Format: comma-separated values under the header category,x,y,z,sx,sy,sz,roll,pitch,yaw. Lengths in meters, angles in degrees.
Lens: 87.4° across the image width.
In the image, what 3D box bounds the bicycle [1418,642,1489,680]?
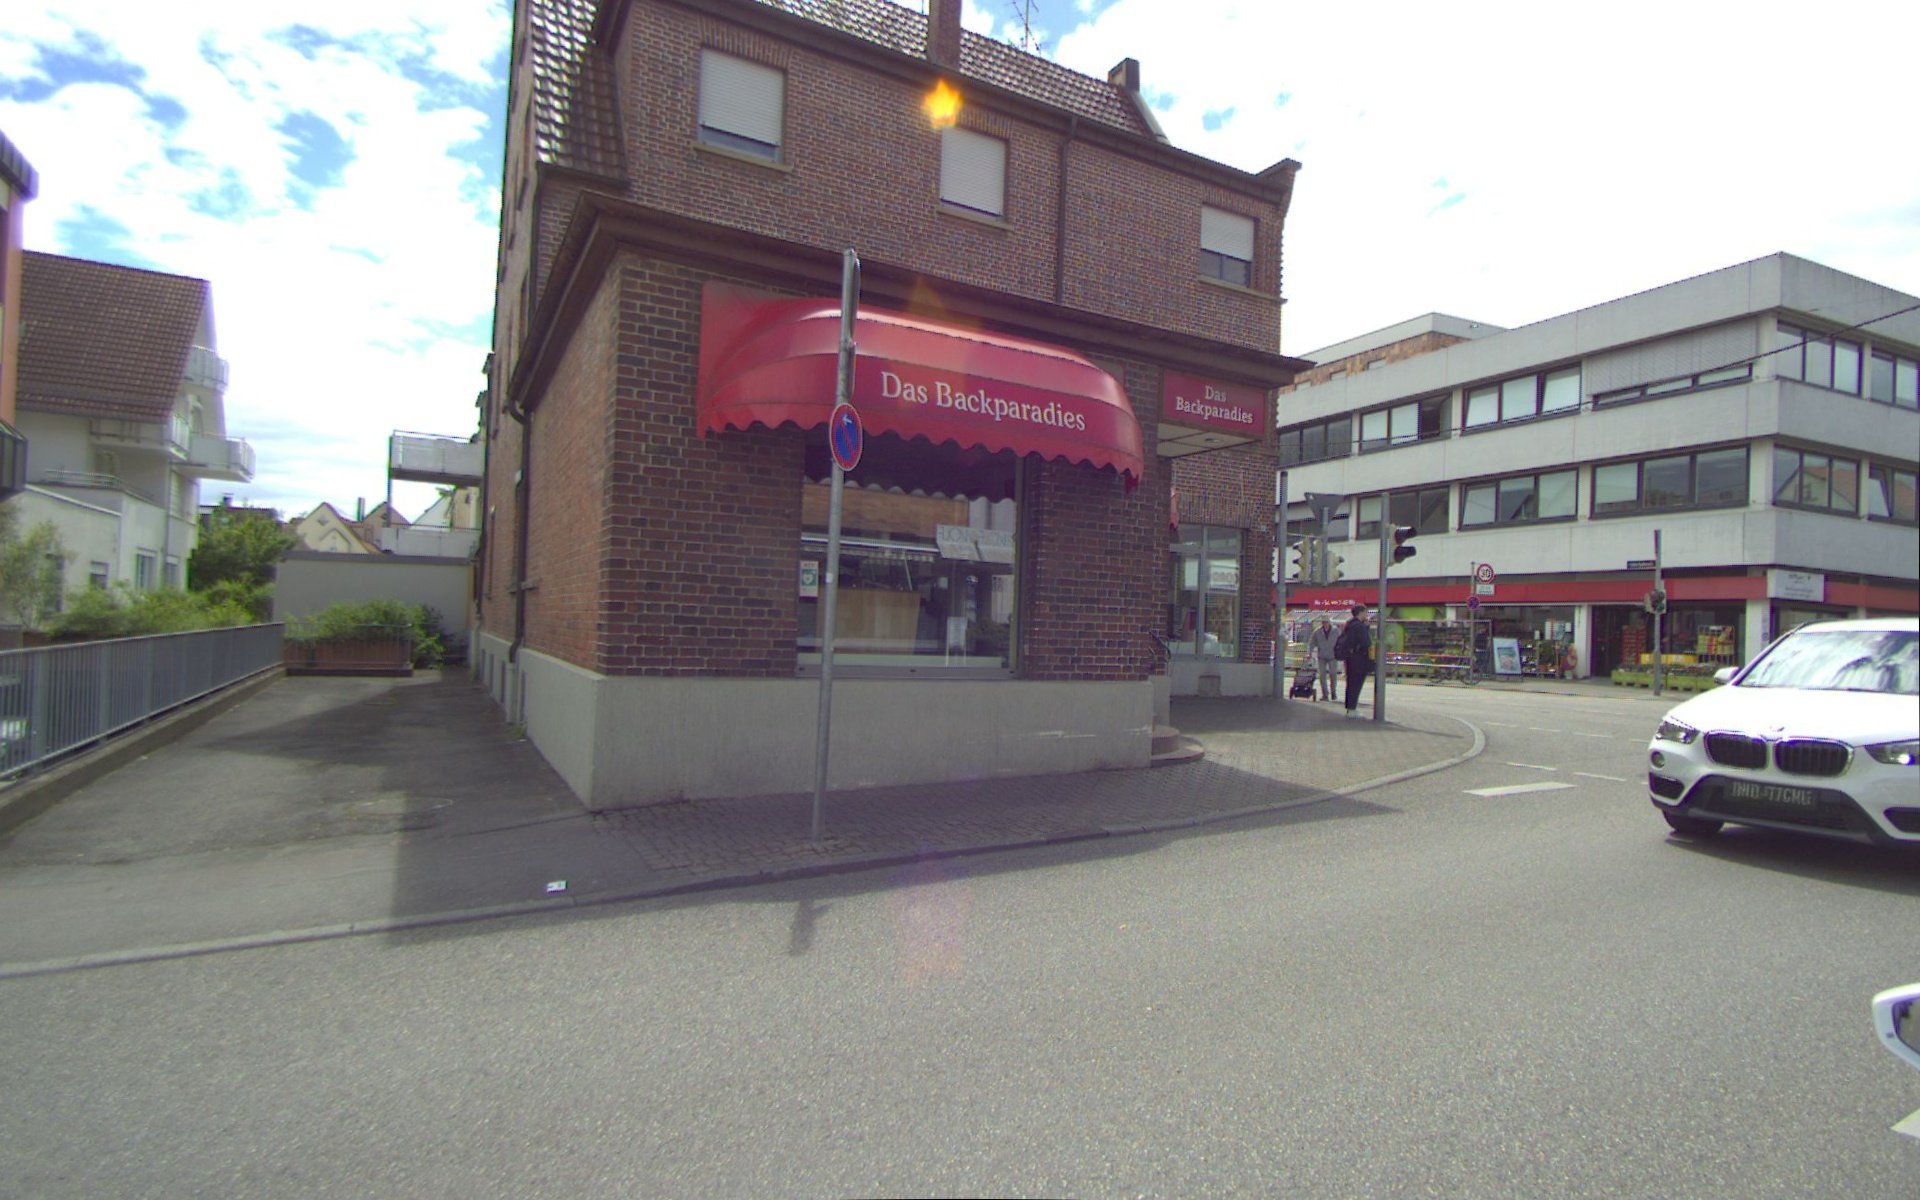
category,x,y,z,sx,sy,sz,roll,pitch,yaw
bicycle,15.557,1.930,31.722,0.769,1.156,1.867,3,-4,-38

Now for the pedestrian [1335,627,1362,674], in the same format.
category,x,y,z,sx,sy,sz,roll,pitch,yaw
pedestrian,13.844,1.791,35.809,0.712,1.618,0.694,3,-1,34

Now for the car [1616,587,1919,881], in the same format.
category,x,y,z,sx,sy,sz,roll,pitch,yaw
car,6.863,0.850,7.377,4.171,1.661,1.772,2,-3,-30

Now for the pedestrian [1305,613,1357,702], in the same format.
category,x,y,z,sx,sy,sz,roll,pitch,yaw
pedestrian,7.229,1.123,19.567,0.753,1.680,0.521,4,-1,-32

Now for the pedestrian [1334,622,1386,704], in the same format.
category,x,y,z,sx,sy,sz,roll,pitch,yaw
pedestrian,7.622,1.204,19.152,0.753,1.504,0.521,4,-1,-32

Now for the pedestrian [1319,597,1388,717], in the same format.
category,x,y,z,sx,sy,sz,roll,pitch,yaw
pedestrian,6.165,0.892,15.749,0.712,1.820,0.622,4,-1,-31

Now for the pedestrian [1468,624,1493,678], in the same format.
category,x,y,z,sx,sy,sz,roll,pitch,yaw
pedestrian,17.728,1.736,34.198,0.612,1.799,0.554,2,-1,36

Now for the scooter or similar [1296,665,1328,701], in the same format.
category,x,y,z,sx,sy,sz,roll,pitch,yaw
scooter or similar,6.700,1.576,19.108,0.374,0.654,0.807,-1,-4,36
